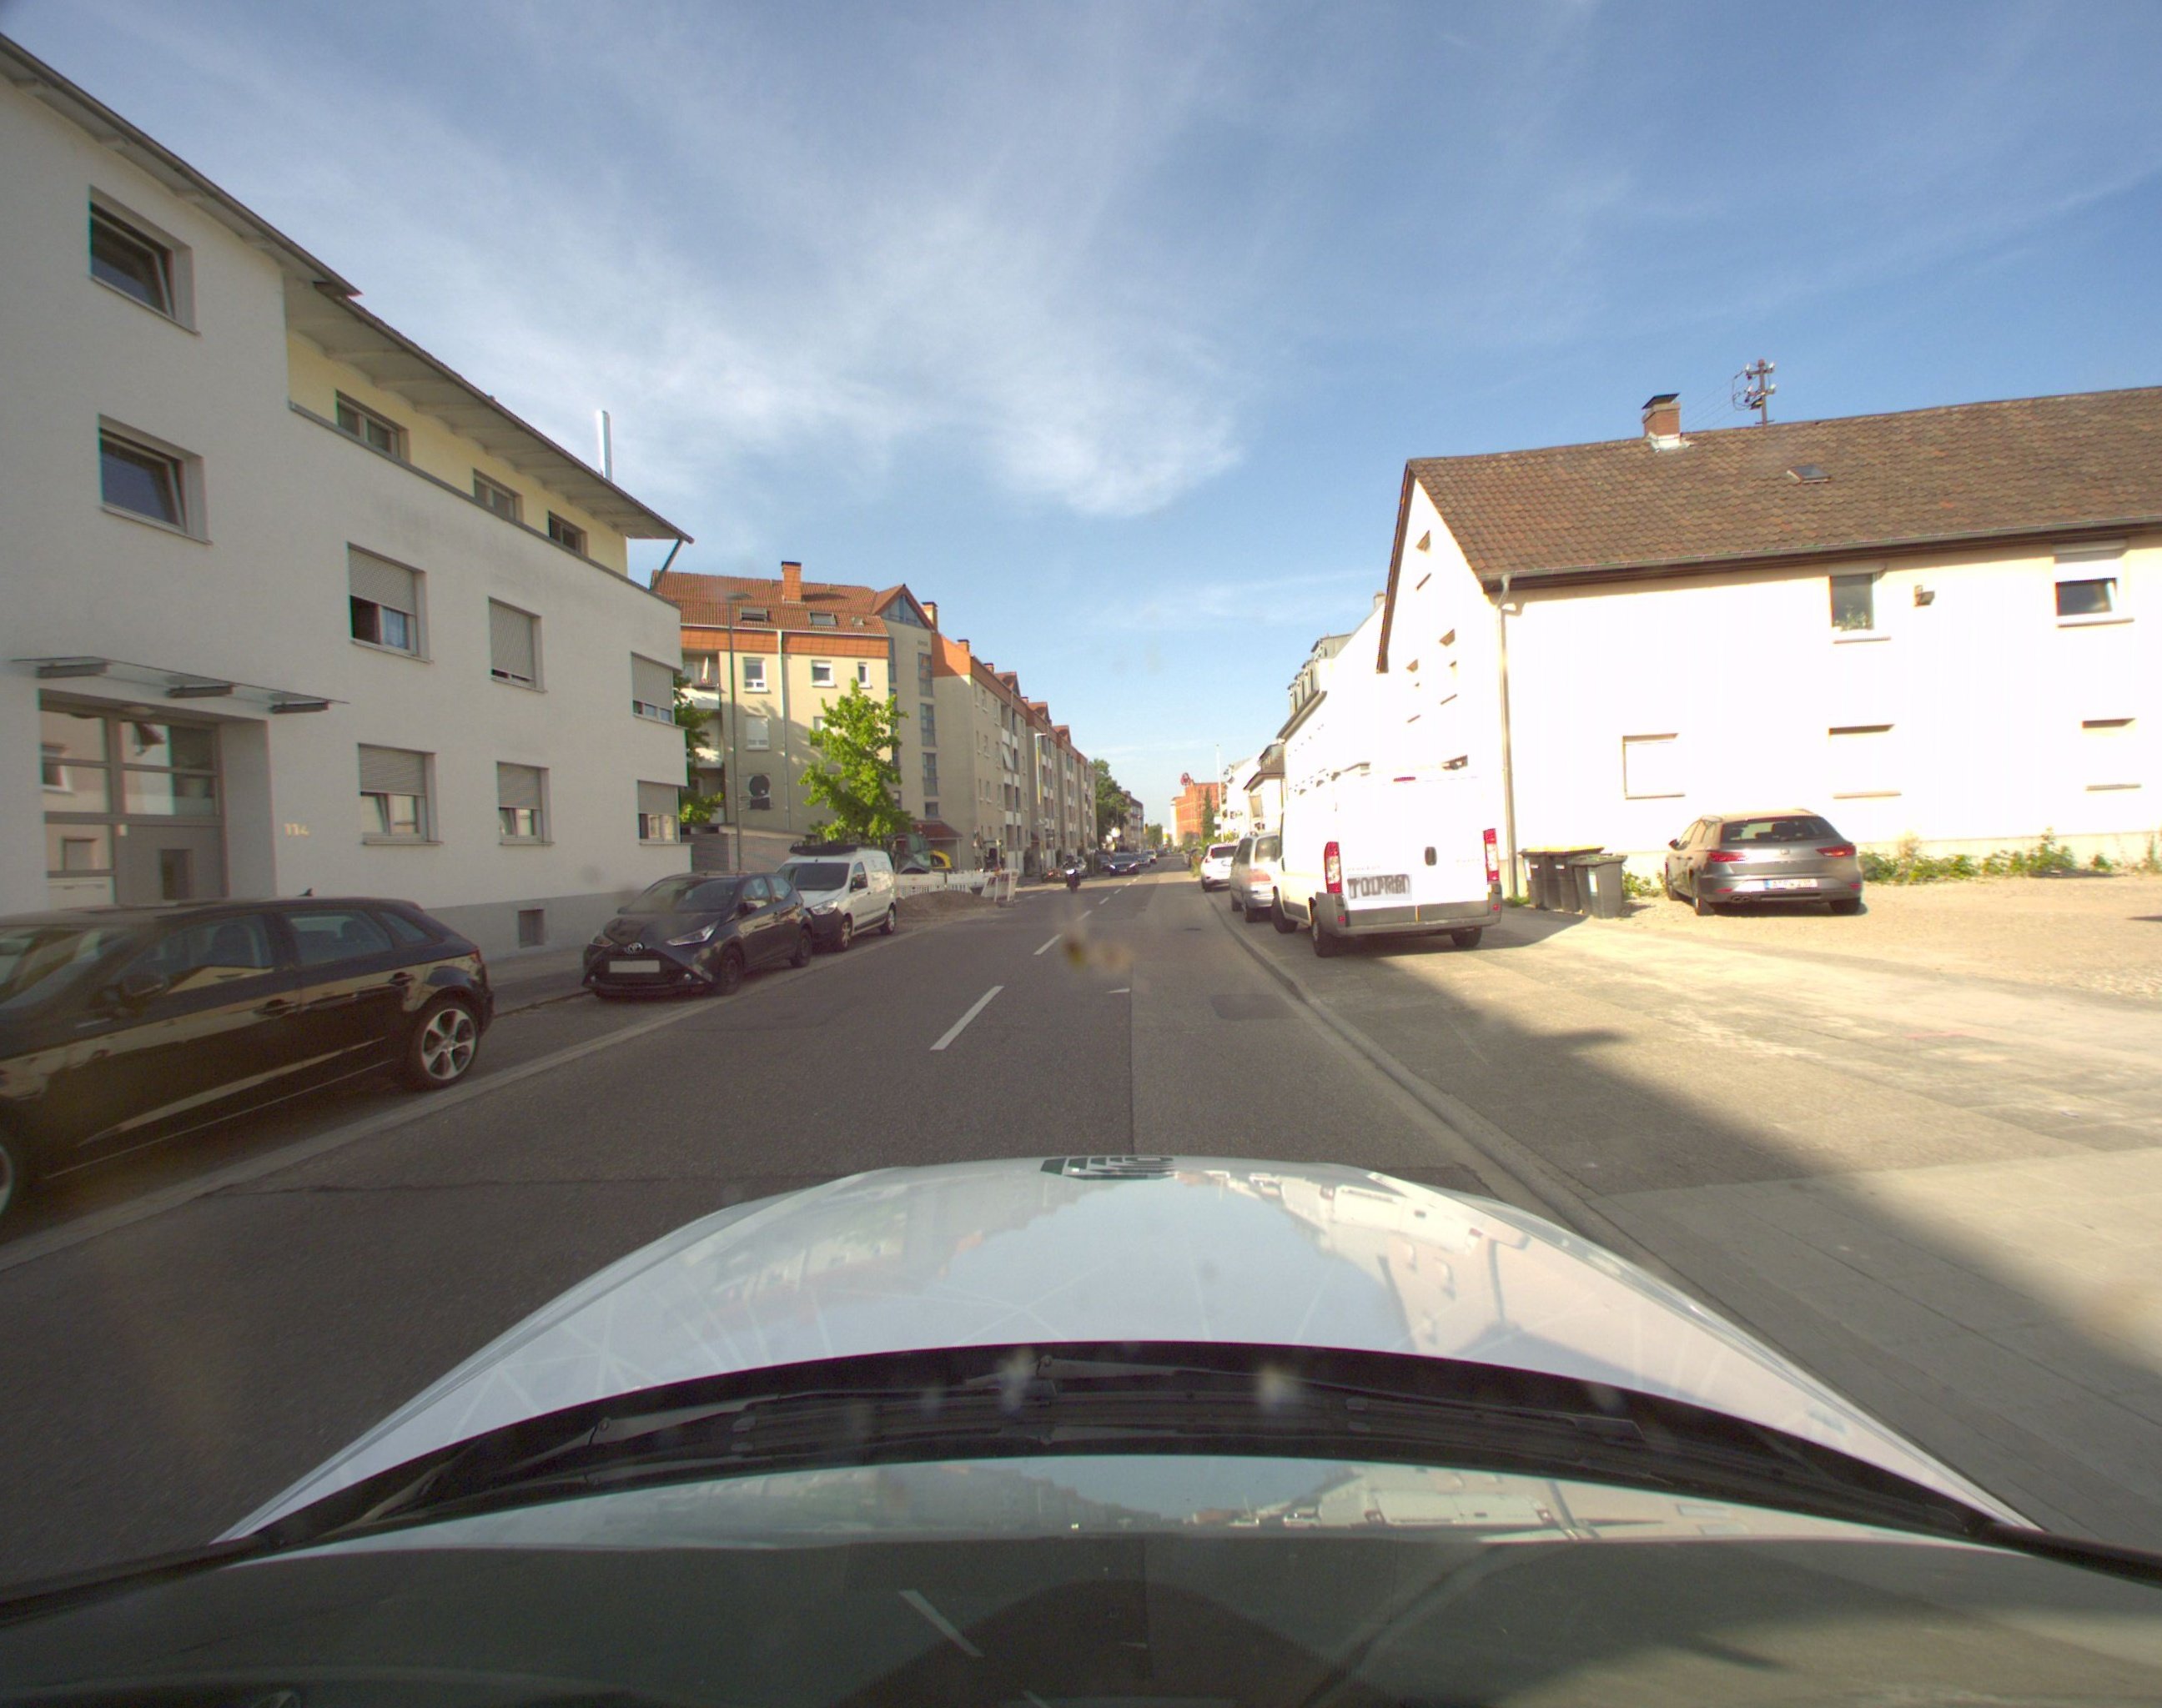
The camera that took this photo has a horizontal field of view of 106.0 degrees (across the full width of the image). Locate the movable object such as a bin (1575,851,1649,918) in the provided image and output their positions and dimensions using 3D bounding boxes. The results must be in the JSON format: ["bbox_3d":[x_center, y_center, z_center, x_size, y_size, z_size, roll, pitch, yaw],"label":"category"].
[{"bbox_3d":[7.943,0.445,12.206,0.724,0.959,0.554,-2,0,4],"label":"movable object such as a bin"}]

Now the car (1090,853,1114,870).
[{"bbox_3d":[1.850,0.631,70.141,1.677,1.405,4.091,-2,0,6],"label":"car"}]

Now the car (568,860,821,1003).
[{"bbox_3d":[-4.811,0.869,10.716,1.487,1.465,3.516,-2,0,2],"label":"car"}]

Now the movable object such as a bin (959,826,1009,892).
[{"bbox_3d":[-4.978,0.224,42.214,1.640,3.138,3.906,-3,0,5],"label":"movable object such as a bin"}]

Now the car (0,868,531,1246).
[{"bbox_3d":[-5.357,0.896,4.502,1.722,1.478,4.262,-2,0,-1],"label":"car"}]

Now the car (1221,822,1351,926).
[{"bbox_3d":[4.047,0.329,16.808,1.770,1.741,4.489,-4,0,4],"label":"car"}]

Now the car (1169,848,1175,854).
[{"bbox_3d":[28.015,-1.020,251.367,1.754,1.616,4.008,-3,0,7],"label":"car"}]

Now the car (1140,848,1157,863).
[{"bbox_3d":[8.489,0.152,102.628,1.912,1.767,4.345,-3,0,6],"label":"car"}]

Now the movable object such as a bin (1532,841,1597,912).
[{"bbox_3d":[8.011,0.365,13.517,0.724,1.132,0.554,-2,0,4],"label":"movable object such as a bin"}]

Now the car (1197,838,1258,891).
[{"bbox_3d":[5.303,0.336,29.951,1.803,1.683,4.485,-4,0,6],"label":"car"}]

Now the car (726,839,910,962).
[{"bbox_3d":[-4.751,0.738,15.477,1.719,1.960,4.444,-2,0,4],"label":"car"}]

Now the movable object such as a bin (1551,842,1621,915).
[{"bbox_3d":[7.983,0.379,12.900,0.724,1.093,0.554,-3,0,4],"label":"movable object such as a bin"}]

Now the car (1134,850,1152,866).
[{"bbox_3d":[6.247,0.368,81.734,1.609,1.455,3.691,-3,0,6],"label":"car"}]

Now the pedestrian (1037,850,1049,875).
[{"bbox_3d":[-2.765,0.623,59.850,0.715,1.818,0.747,-2,0,7],"label":"pedestrian"}]

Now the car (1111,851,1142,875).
[{"bbox_3d":[3.121,0.586,55.353,1.821,1.420,4.216,-3,0,6],"label":"car"}]

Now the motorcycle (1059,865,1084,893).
[{"bbox_3d":[-0.347,0.961,31.858,0.765,0.984,2.202,-2,0,4],"label":"motorcycle"}]

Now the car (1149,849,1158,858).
[{"bbox_3d":[16.665,-0.180,187.359,1.983,1.881,4.008,-3,0,7],"label":"car"}]

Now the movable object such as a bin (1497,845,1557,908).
[{"bbox_3d":[8.075,0.397,14.780,0.724,1.093,0.626,-2,0,4],"label":"movable object such as a bin"}]

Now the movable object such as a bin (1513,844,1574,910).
[{"bbox_3d":[8.034,0.393,14.169,0.724,1.093,0.554,-2,0,4],"label":"movable object such as a bin"}]

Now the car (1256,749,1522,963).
[{"bbox_3d":[4.081,0.003,11.882,2.165,2.327,5.003,-4,0,4],"label":"car"}]

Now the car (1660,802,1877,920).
[{"bbox_3d":[9.891,0.036,12.053,1.640,1.407,4.004,-4,0,29],"label":"car"}]

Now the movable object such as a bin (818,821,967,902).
[{"bbox_3d":[-7.316,0.265,32.216,5.495,2.900,2.106,-2,1,-9],"label":"movable object such as a bin"}]

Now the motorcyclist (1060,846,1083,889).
[{"bbox_3d":[-0.355,0.521,31.956,0.765,1.652,0.844,-2,0,3],"label":"motorcyclist"}]

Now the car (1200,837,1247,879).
[{"bbox_3d":[7.103,0.170,40.804,2.063,1.856,4.622,-4,0,9],"label":"car"}]

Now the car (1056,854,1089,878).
[{"bbox_3d":[-0.505,0.749,52.152,1.632,1.395,3.677,-3,0,5],"label":"car"}]
